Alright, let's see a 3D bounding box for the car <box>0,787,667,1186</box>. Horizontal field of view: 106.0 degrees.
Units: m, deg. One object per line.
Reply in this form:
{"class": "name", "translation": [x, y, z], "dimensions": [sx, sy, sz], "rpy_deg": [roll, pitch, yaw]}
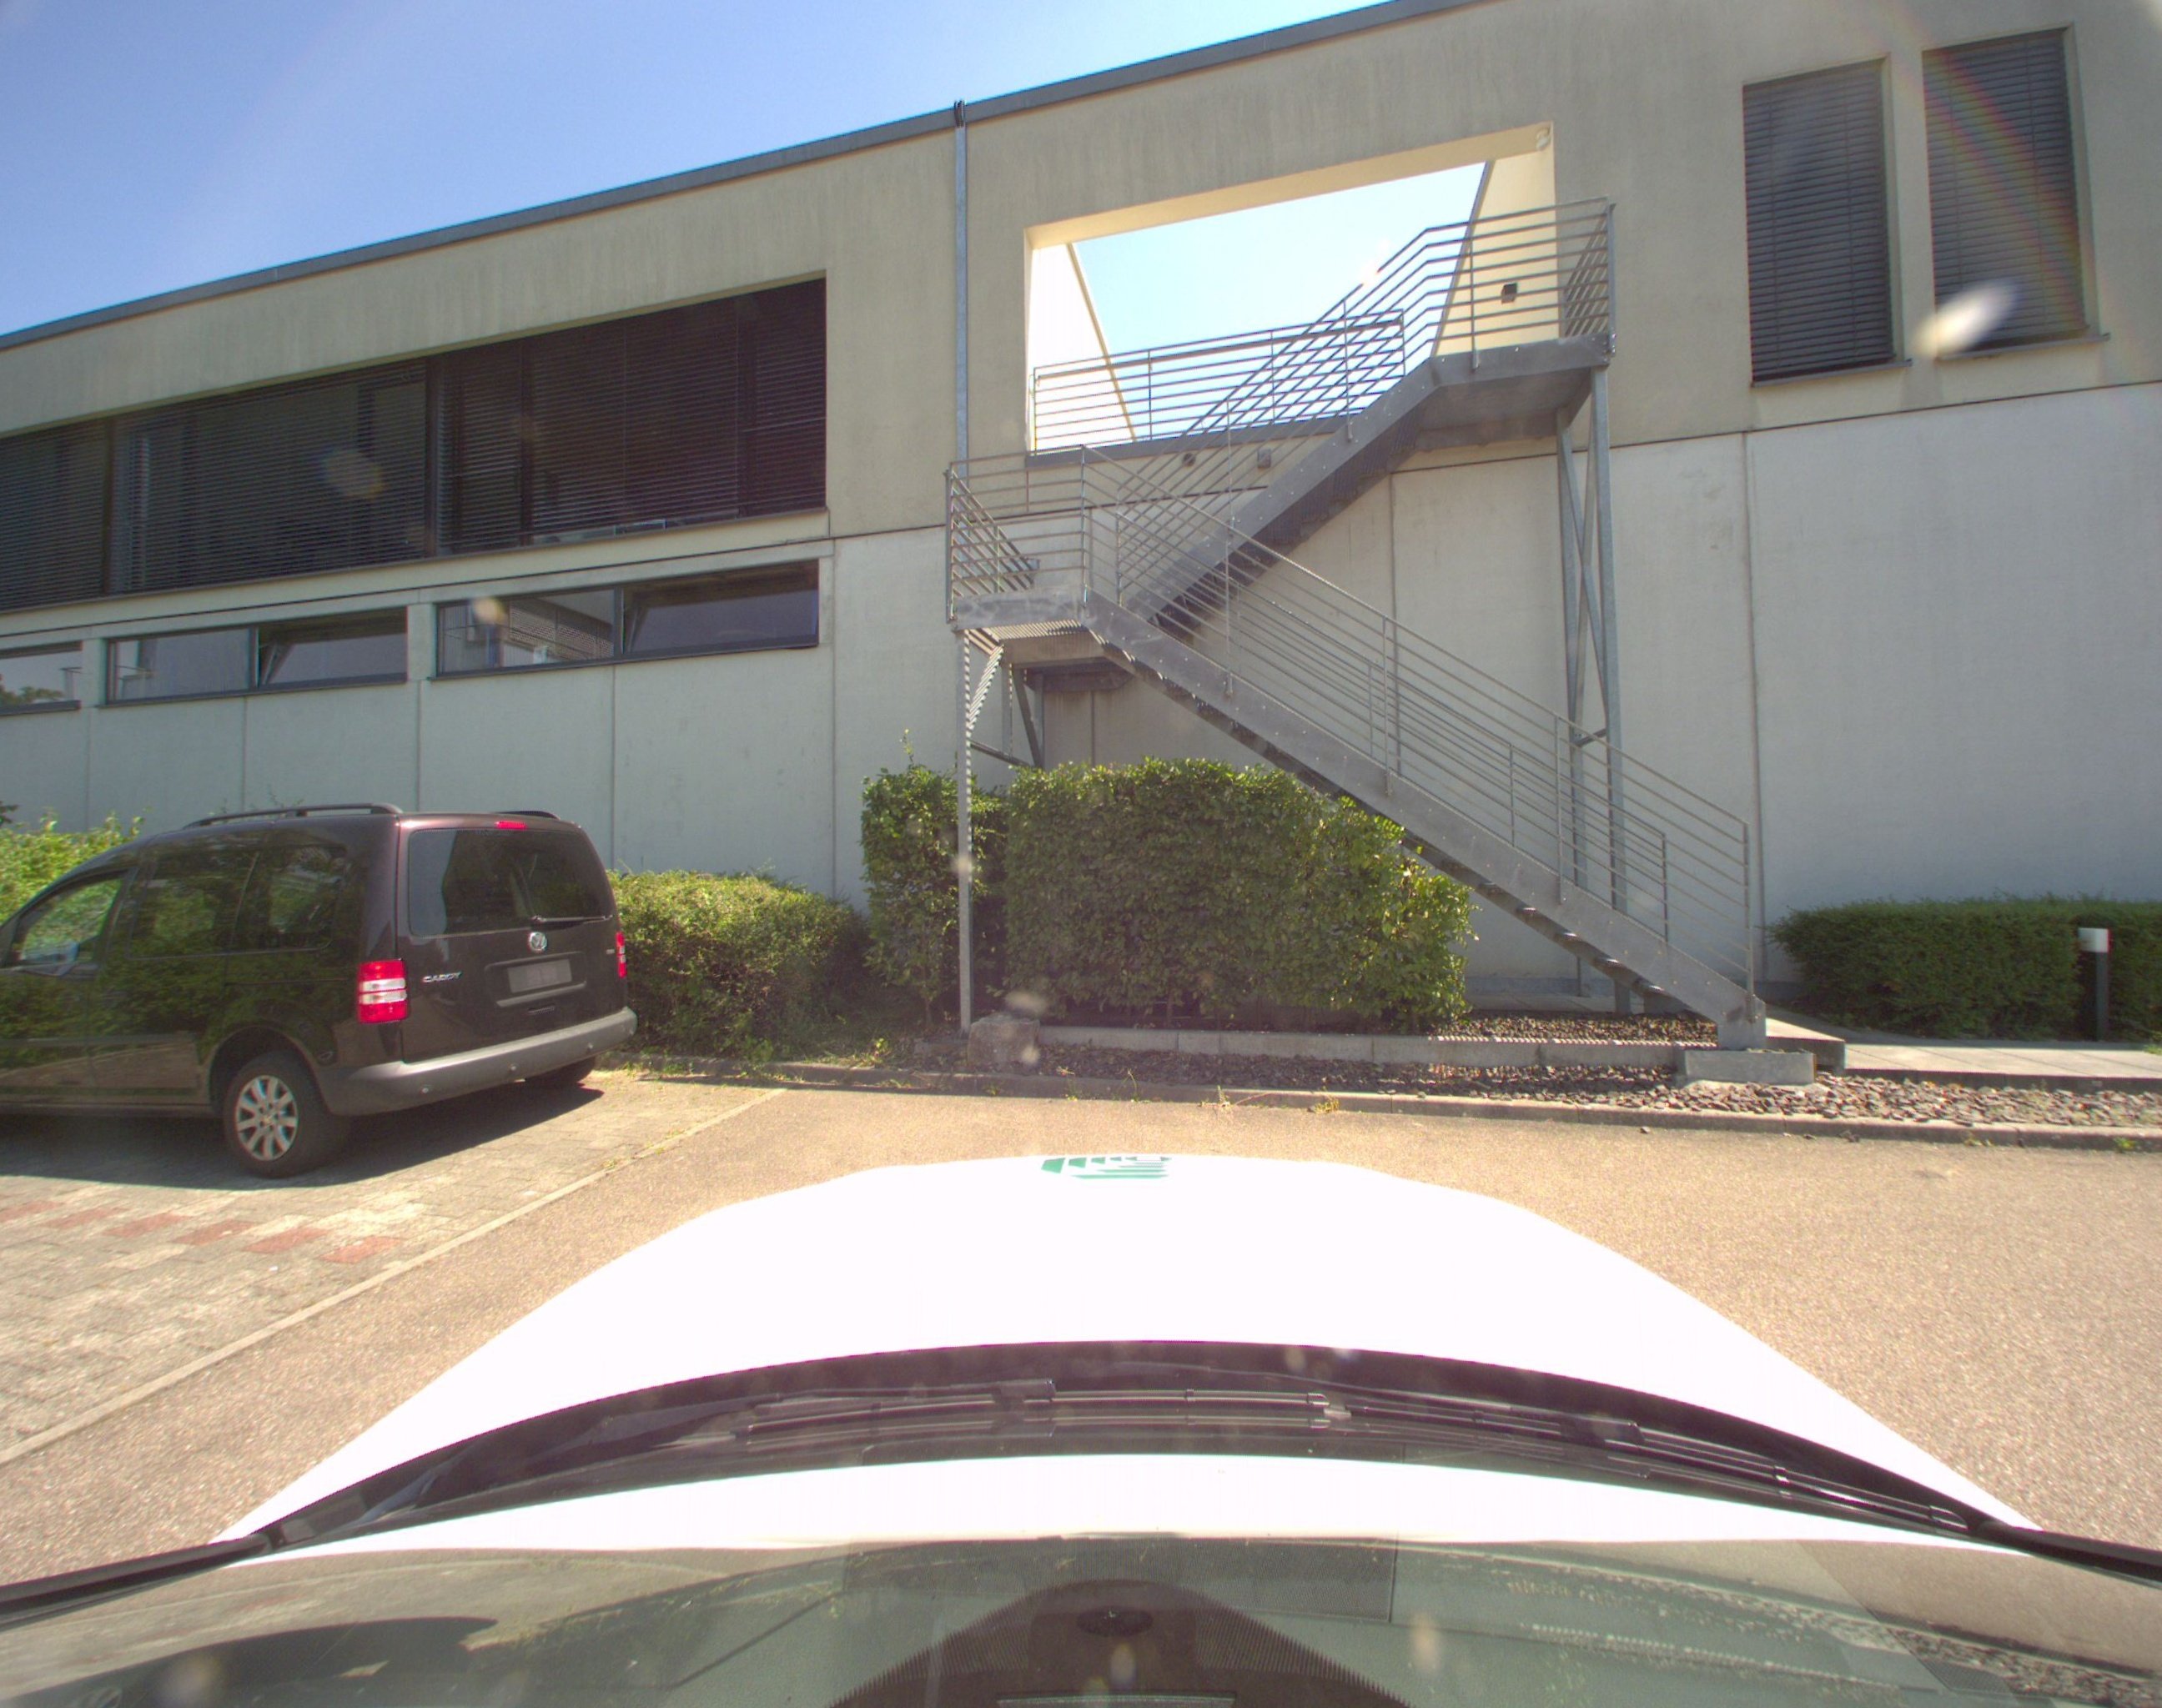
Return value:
{"class": "car", "translation": [-4.962, 0.658, 5.146], "dimensions": [4.029, 1.884, 1.685], "rpy_deg": [-1, -1, 14]}
